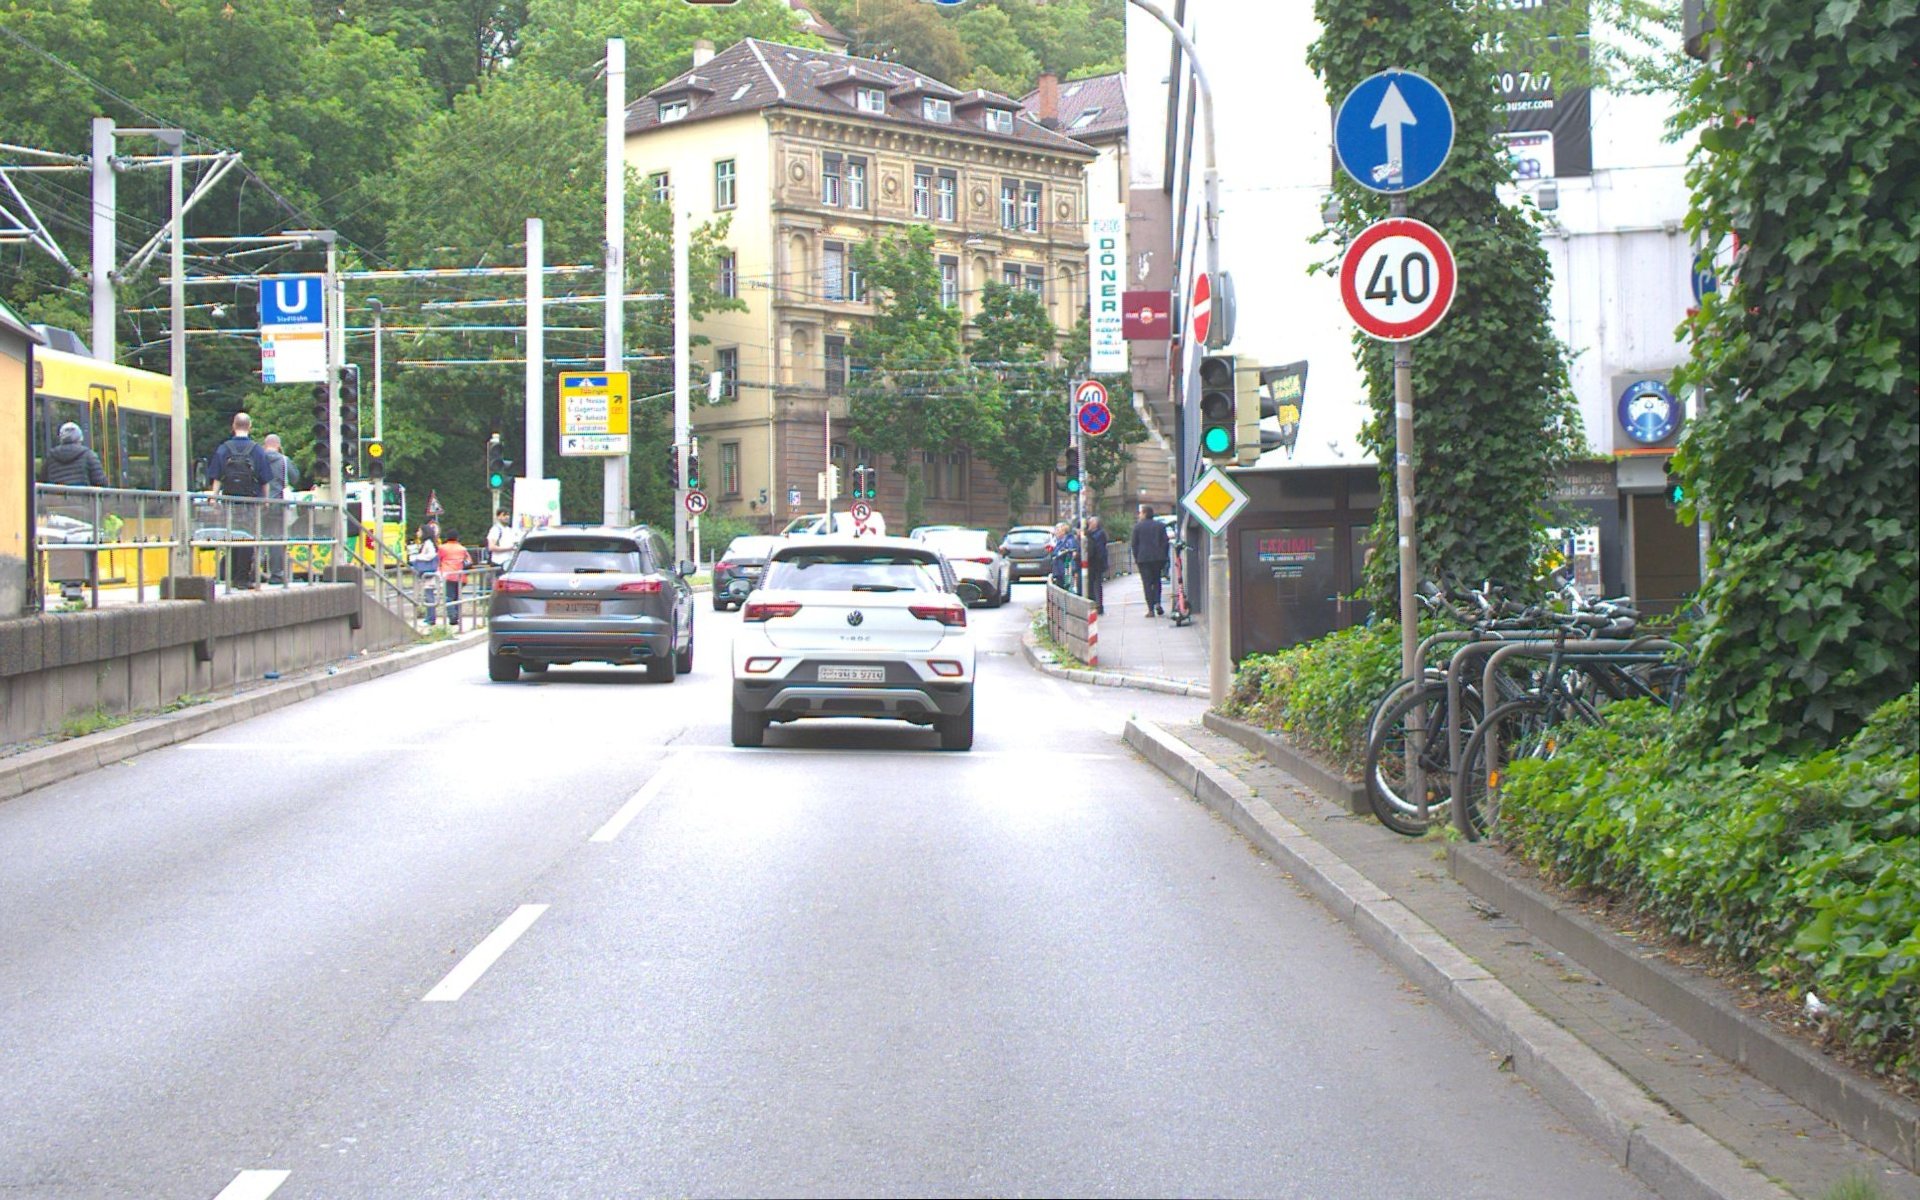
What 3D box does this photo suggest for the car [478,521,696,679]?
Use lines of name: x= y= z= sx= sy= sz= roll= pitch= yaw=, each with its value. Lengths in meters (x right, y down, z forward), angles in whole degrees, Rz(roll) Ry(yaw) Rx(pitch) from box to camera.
car: x=-4.005 y=-0.029 z=37.489 sx=1.993 sy=1.630 sz=4.000 roll=0 pitch=1 yaw=-1

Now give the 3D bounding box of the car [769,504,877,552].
car: x=-4.936 y=-2.604 z=124.563 sx=1.916 sy=1.683 sz=3.992 roll=2 pitch=1 yaw=34

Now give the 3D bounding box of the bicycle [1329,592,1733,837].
bicycle: x=2.751 y=0.548 z=16.732 sx=1.881 sy=1.133 sz=0.808 roll=1 pitch=-1 yaw=6

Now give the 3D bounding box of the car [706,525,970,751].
car: x=-0.853 y=0.250 z=26.319 sx=1.837 sy=1.578 sz=4.157 roll=0 pitch=0 yaw=0

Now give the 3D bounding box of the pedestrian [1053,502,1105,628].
pedestrian: x=1.932 y=-0.560 z=55.784 sx=0.762 sy=2.007 sz=0.838 roll=1 pitch=-1 yaw=5

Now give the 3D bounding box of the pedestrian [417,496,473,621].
pedestrian: x=-8.395 y=-0.669 z=56.071 sx=0.762 sy=2.007 sz=0.838 roll=1 pitch=-1 yaw=0

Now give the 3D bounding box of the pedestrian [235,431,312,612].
pedestrian: x=-7.767 y=-0.882 z=38.945 sx=0.762 sy=2.007 sz=0.838 roll=1 pitch=-1 yaw=-7

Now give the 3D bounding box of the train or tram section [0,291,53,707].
train or tram section: x=-9.820 y=-0.892 z=28.652 sx=2.813 sy=3.654 sz=6.751 roll=1 pitch=0 yaw=-1

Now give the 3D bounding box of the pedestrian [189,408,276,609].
pedestrian: x=-7.447 y=-0.925 z=35.215 sx=0.762 sy=2.007 sz=0.838 roll=1 pitch=-1 yaw=-7

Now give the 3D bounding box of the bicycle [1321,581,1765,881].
bicycle: x=2.583 y=0.566 z=15.241 sx=1.882 sy=1.262 sz=0.764 roll=1 pitch=-1 yaw=11

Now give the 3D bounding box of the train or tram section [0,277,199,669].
train or tram section: x=-9.953 y=-1.213 z=35.399 sx=2.813 sy=3.654 sz=6.751 roll=1 pitch=0 yaw=-1

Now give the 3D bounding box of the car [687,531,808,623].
car: x=-4.046 y=-0.461 z=66.007 sx=1.912 sy=1.683 sz=4.000 roll=1 pitch=1 yaw=2

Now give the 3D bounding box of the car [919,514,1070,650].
car: x=0.415 y=-0.200 z=45.423 sx=1.885 sy=1.678 sz=4.161 roll=1 pitch=-1 yaw=0

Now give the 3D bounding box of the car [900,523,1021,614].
car: x=-0.027 y=-0.588 z=67.896 sx=1.884 sy=1.678 sz=4.162 roll=1 pitch=-1 yaw=-7

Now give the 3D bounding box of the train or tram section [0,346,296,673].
train or tram section: x=-10.158 y=-1.036 z=42.147 sx=2.813 sy=3.654 sz=6.751 roll=1 pitch=0 yaw=-1

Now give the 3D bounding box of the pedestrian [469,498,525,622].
pedestrian: x=-7.587 y=-0.654 z=56.386 sx=0.762 sy=2.007 sz=0.838 roll=1 pitch=-1 yaw=0

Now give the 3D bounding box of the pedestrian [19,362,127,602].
pedestrian: x=-7.603 y=-1.000 z=29.492 sx=0.762 sy=2.007 sz=0.838 roll=1 pitch=-1 yaw=-7

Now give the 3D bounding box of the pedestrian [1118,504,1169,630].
pedestrian: x=2.957 y=-0.522 z=55.393 sx=0.762 sy=2.007 sz=0.838 roll=1 pitch=-1 yaw=5

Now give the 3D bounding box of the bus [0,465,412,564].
bus: x=-24.709 y=-2.778 z=112.256 sx=13.292 sy=3.054 sz=3.380 roll=1 pitch=-1 yaw=18
